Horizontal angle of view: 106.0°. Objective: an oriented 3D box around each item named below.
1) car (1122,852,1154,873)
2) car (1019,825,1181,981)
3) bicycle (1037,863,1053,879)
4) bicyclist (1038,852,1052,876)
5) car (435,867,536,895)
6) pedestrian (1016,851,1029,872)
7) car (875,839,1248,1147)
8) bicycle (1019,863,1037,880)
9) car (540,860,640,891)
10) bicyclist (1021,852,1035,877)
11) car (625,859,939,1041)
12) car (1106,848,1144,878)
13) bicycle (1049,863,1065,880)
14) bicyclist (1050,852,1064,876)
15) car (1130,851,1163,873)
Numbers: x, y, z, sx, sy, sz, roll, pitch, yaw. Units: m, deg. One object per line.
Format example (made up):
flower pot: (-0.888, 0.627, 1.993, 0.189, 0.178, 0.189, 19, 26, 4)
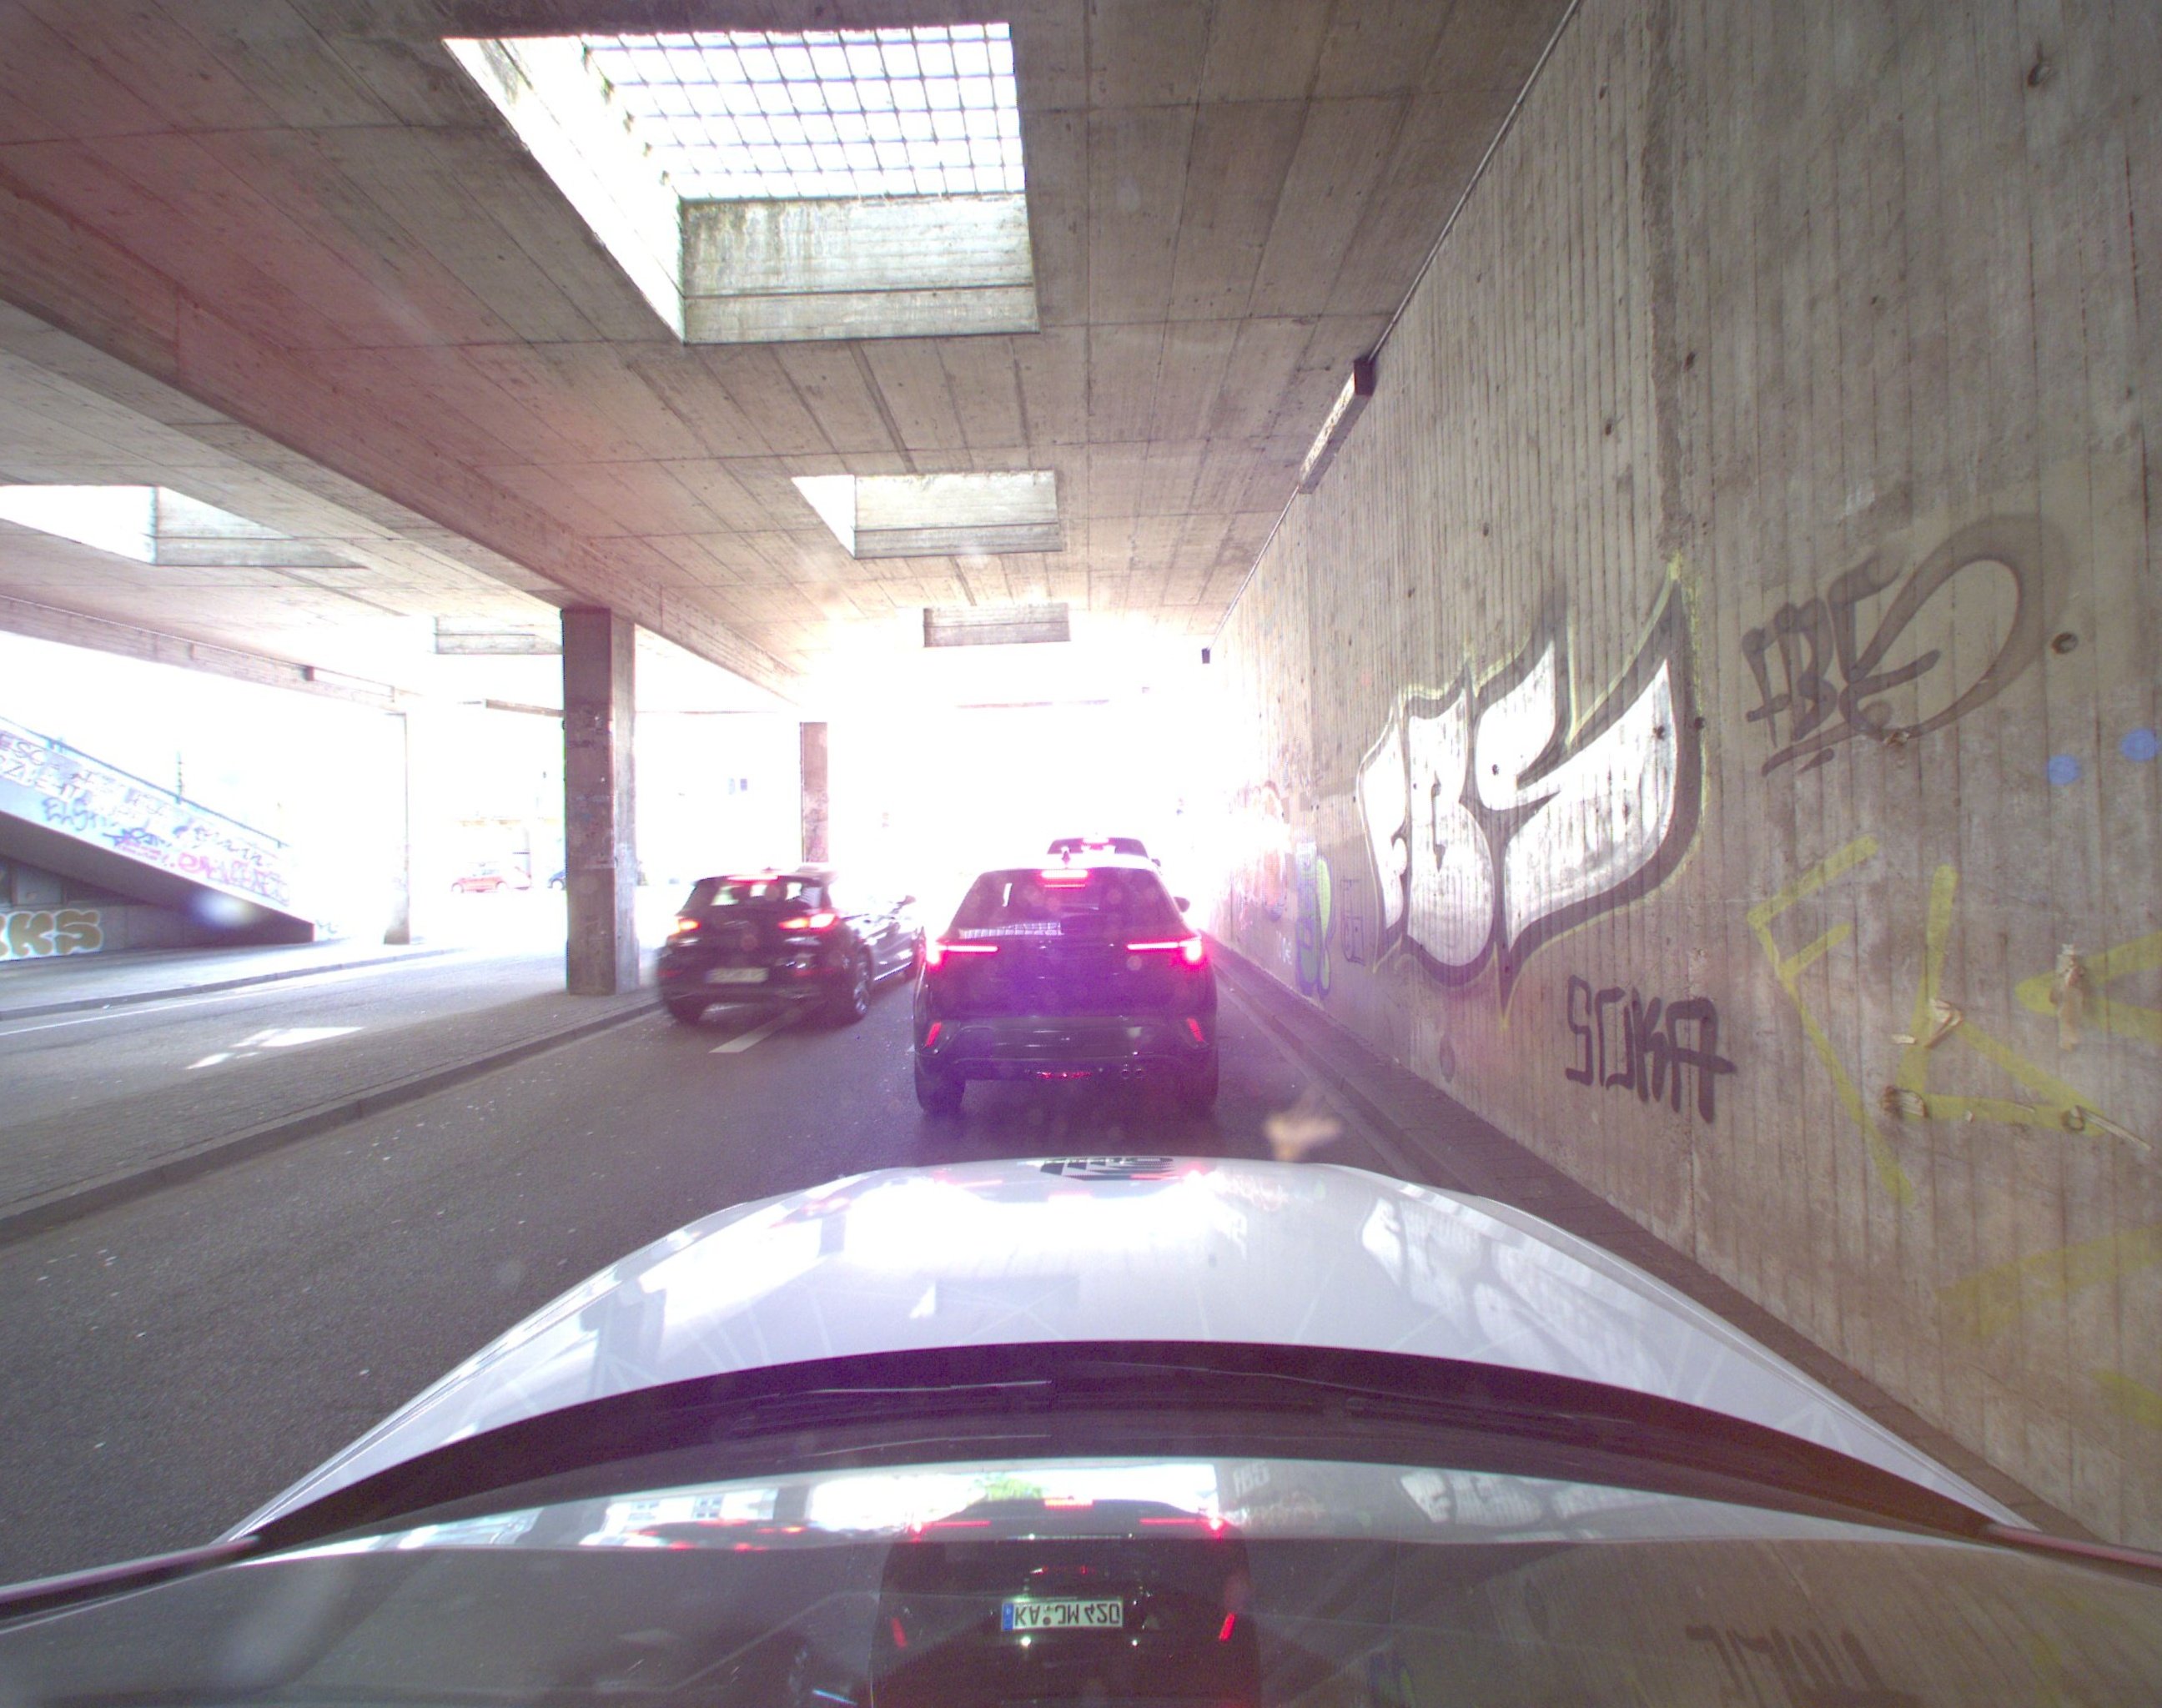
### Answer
car: (4.412, 0.649, 62.238, 1.955, 1.497, 3.908, -2, -2, 11)
car: (0.293, 0.599, 11.995, 1.938, 1.860, 3.966, -2, 0, 2)
bicycle: (-2.408, 1.113, 54.691, 0.621, 1.067, 1.694, -1, -1, 11)
bicyclist: (-2.415, 0.669, 54.646, 0.724, 1.581, 0.817, -1, -1, 11)
car: (-33.005, 1.470, 45.225, 3.970, 1.374, 2.192, -1, 0, 3)
pedestrian: (-5.678, 0.722, 78.985, 0.986, 2.013, 1.091, -2, 0, 10)
car: (-0.039, 0.715, 6.175, 1.875, 1.538, 3.966, -2, 0, 2)
bicycle: (-3.382, 1.110, 51.731, 0.727, 1.067, 1.694, -1, -1, 11)
car: (-27.201, 1.181, 45.225, 4.114, 1.550, 2.268, -1, 0, 1)
bicyclist: (-3.372, 0.652, 51.765, 0.724, 1.581, 0.817, -1, -1, 11)
car: (-2.790, 0.791, 8.705, 1.773, 1.447, 4.178, 0, 0, 1)
car: (2.415, 0.508, 44.254, 1.959, 1.497, 3.900, -2, -2, 4)
bicycle: (-1.546, 1.101, 52.306, 0.621, 1.067, 1.694, -1, -1, 11)
bicyclist: (-1.550, 0.644, 52.302, 0.724, 1.581, 0.817, -1, -1, 11)
car: (5.594, 0.695, 69.024, 2.206, 1.719, 4.474, -2, -2, 12)
